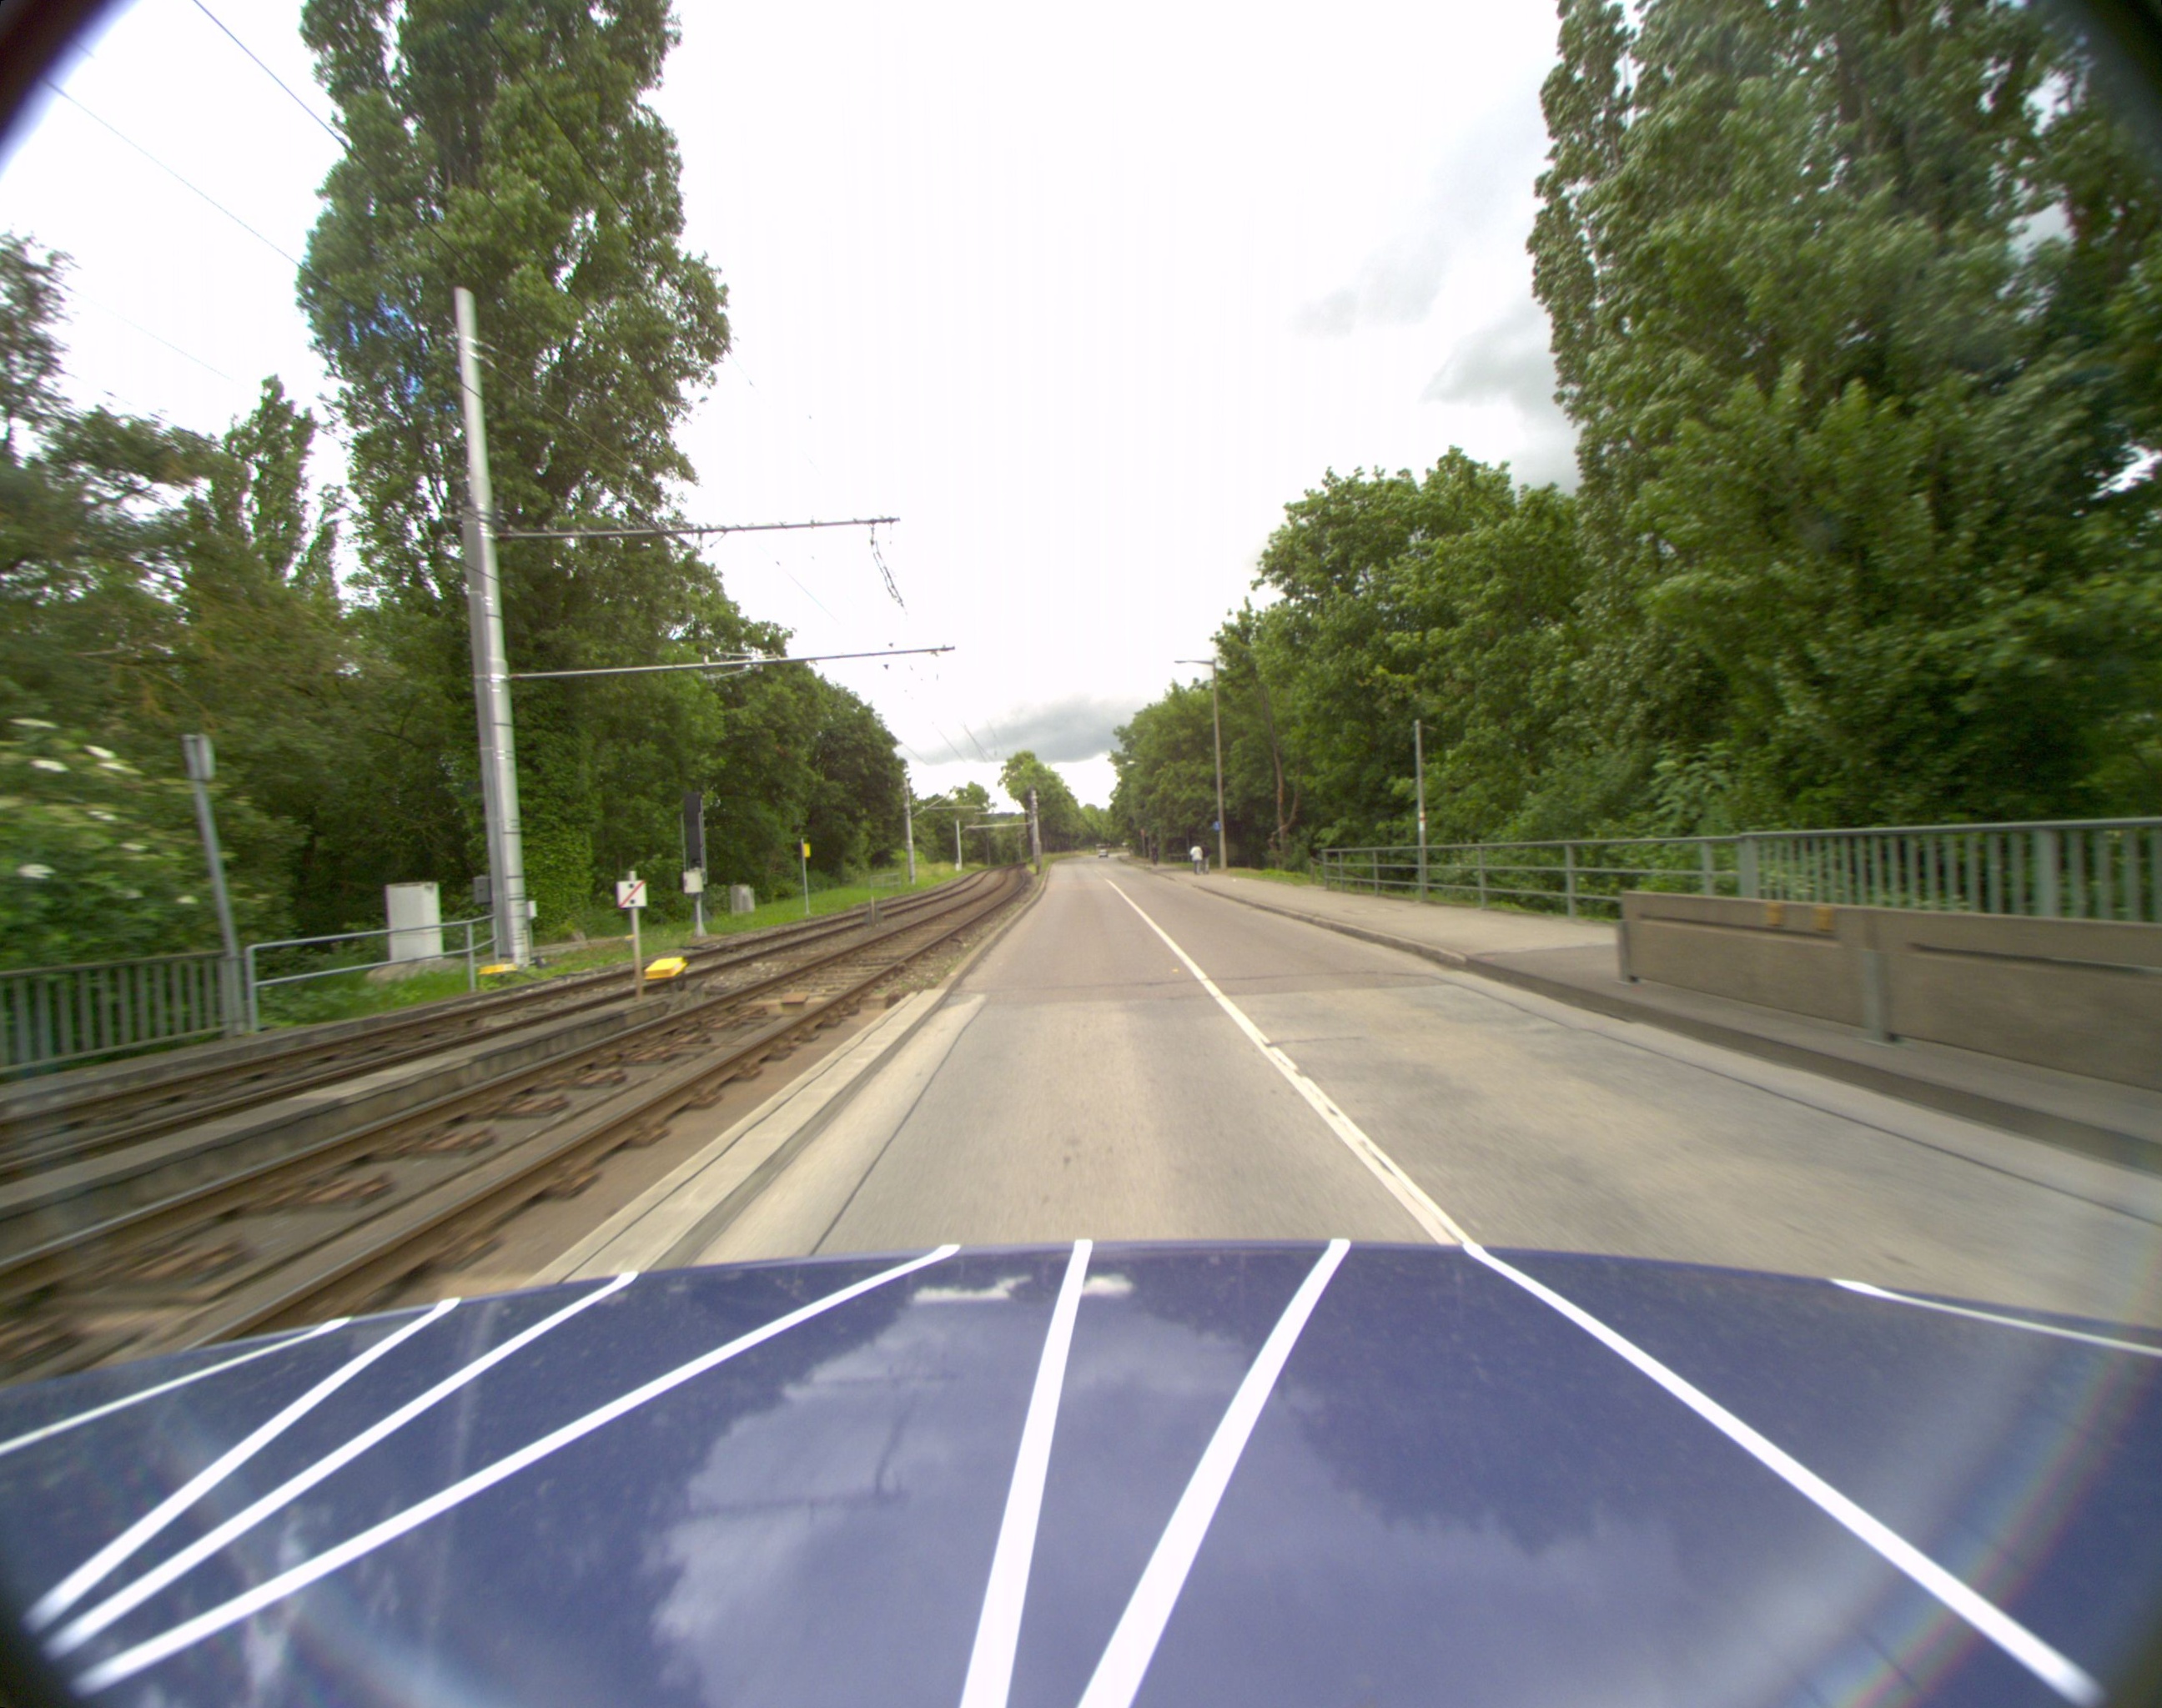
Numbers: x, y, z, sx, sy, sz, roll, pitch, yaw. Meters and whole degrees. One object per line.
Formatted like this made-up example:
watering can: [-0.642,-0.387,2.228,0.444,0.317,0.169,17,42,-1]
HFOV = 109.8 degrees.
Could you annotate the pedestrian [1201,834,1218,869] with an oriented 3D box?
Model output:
pedestrian: [6.711,-0.133,39.648,0.588,1.793,0.822,-4,1,-1]

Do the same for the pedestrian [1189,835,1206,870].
pedestrian: [6.062,-0.091,39.597,0.552,1.755,0.858,-7,1,-1]

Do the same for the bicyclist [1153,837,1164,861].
bicyclist: [6.254,-0.406,61.263,0.688,1.937,0.835,-4,1,-4]

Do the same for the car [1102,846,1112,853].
car: [5.068,-0.868,151.199,1.799,1.483,4.179,-1,1,-1]

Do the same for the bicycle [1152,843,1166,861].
bicycle: [6.263,-0.190,61.202,0.700,1.324,2.279,-4,2,-4]
